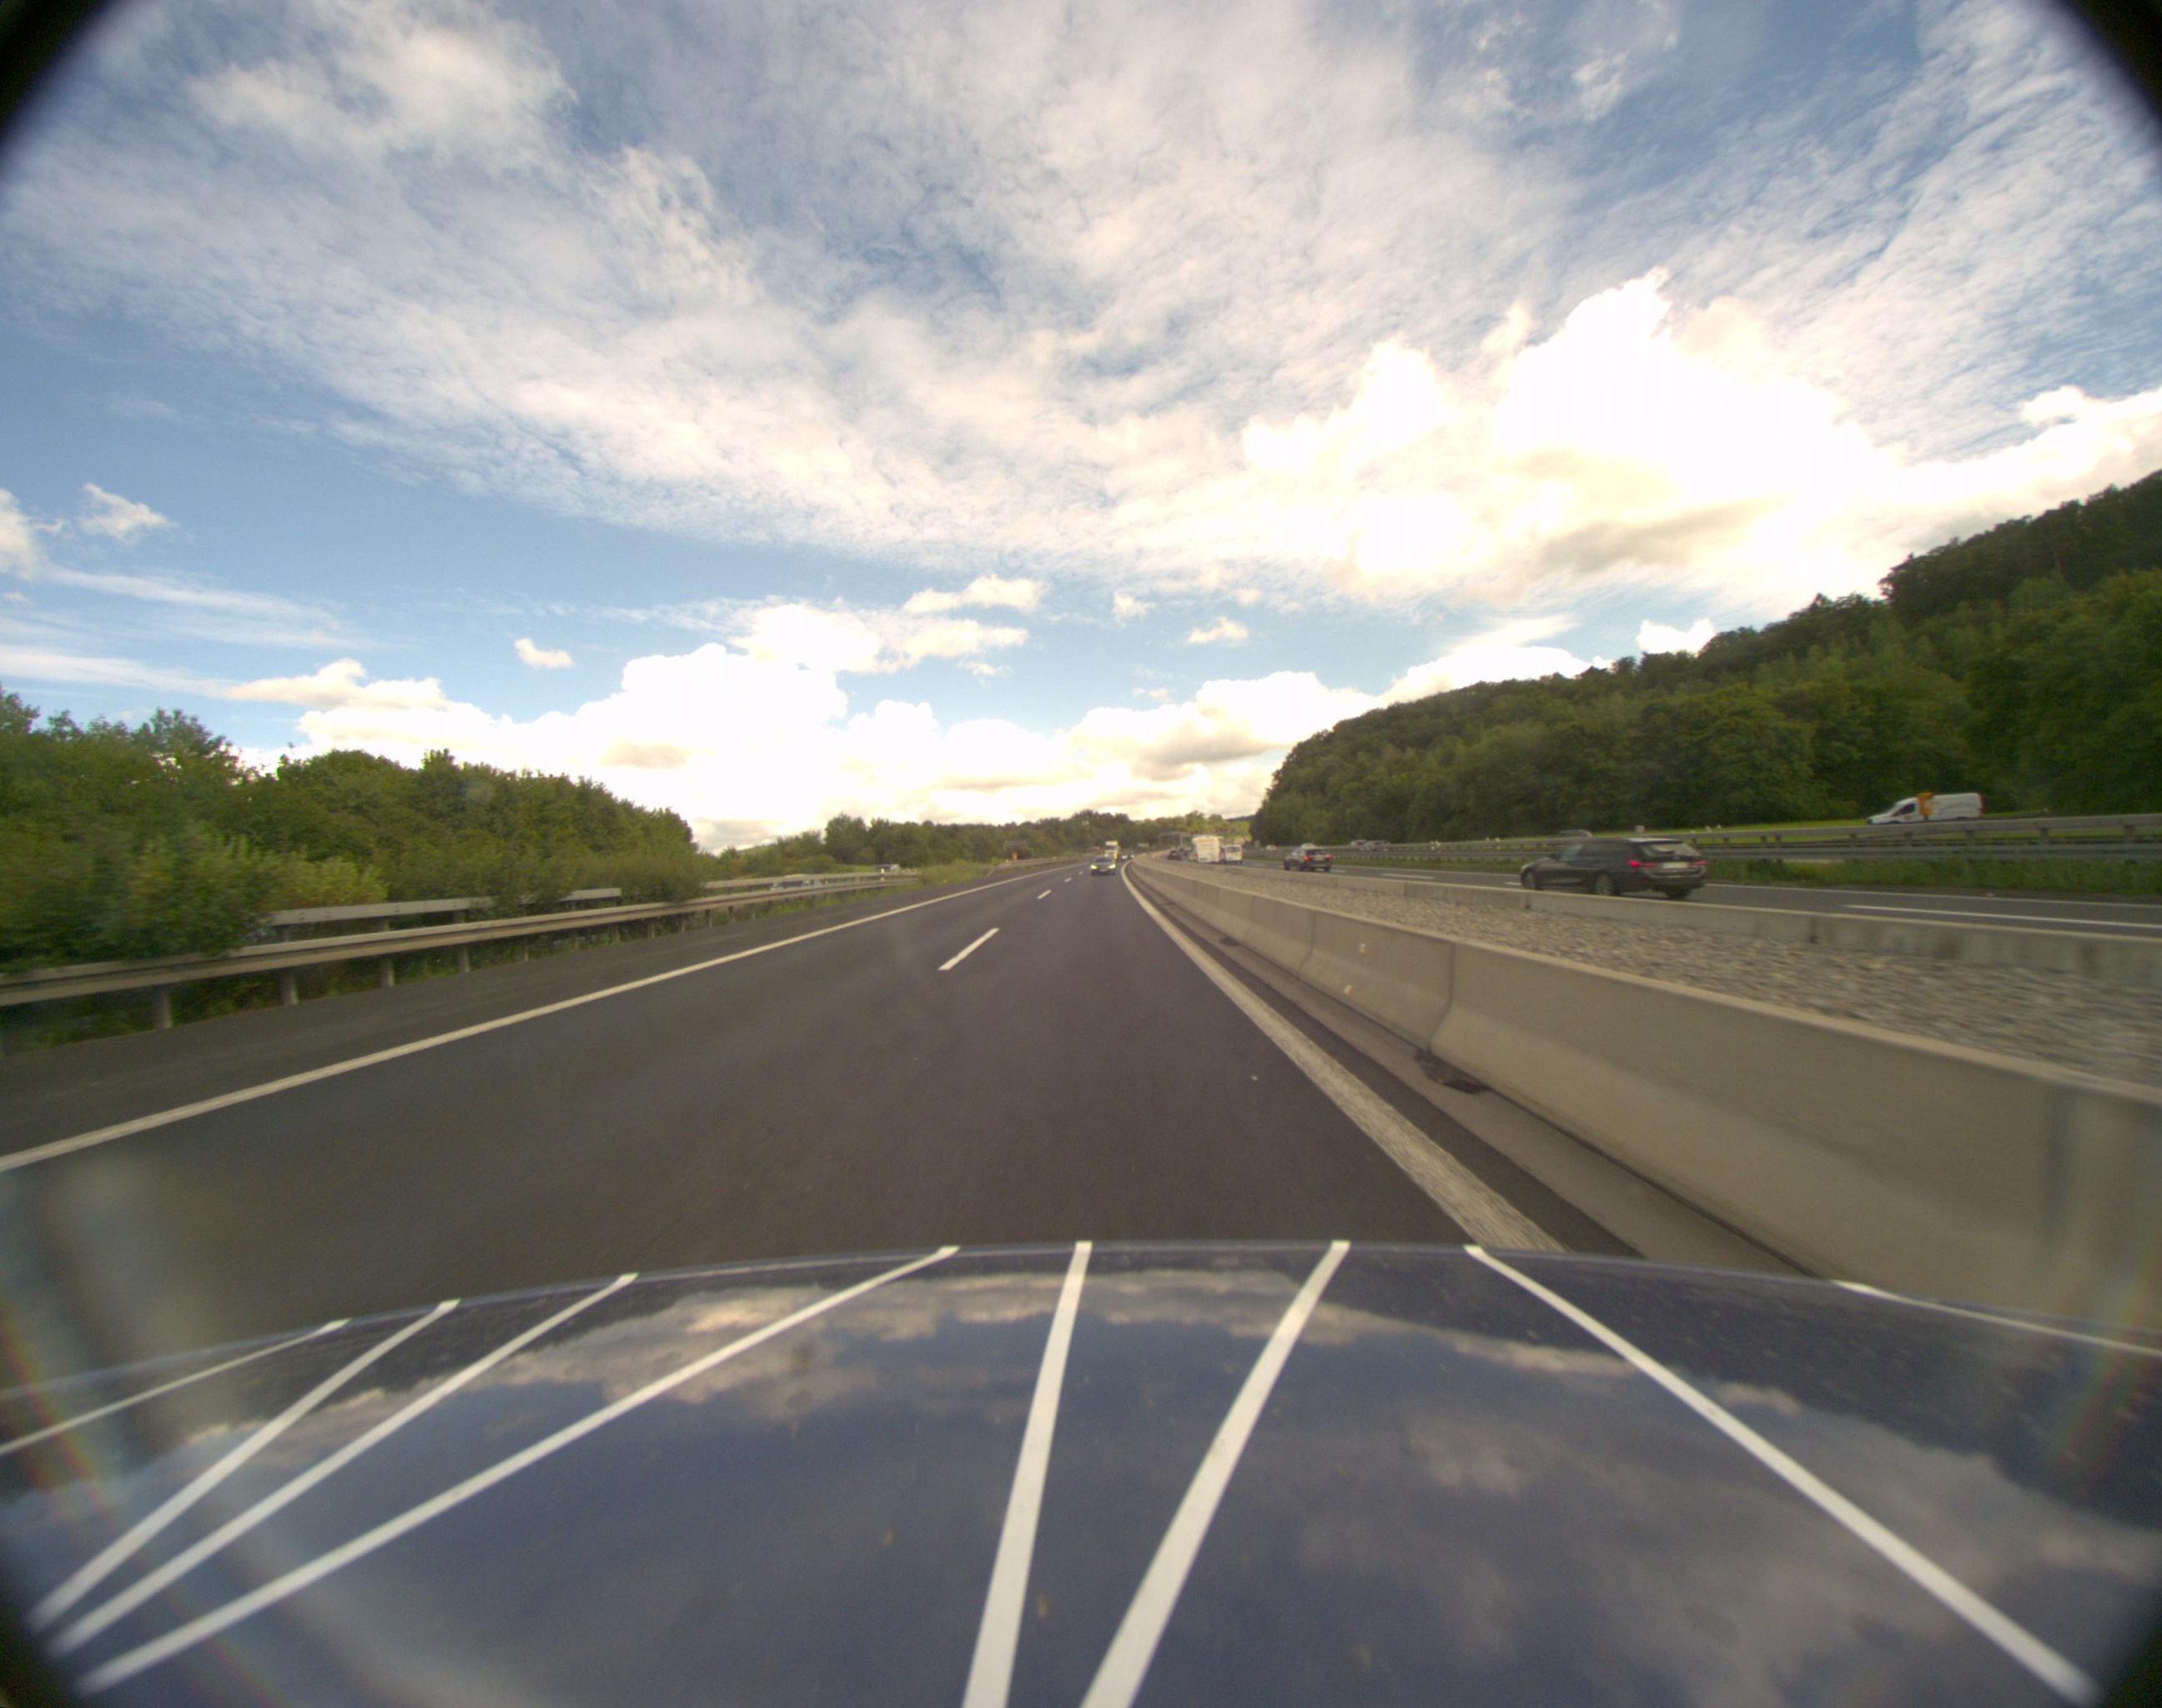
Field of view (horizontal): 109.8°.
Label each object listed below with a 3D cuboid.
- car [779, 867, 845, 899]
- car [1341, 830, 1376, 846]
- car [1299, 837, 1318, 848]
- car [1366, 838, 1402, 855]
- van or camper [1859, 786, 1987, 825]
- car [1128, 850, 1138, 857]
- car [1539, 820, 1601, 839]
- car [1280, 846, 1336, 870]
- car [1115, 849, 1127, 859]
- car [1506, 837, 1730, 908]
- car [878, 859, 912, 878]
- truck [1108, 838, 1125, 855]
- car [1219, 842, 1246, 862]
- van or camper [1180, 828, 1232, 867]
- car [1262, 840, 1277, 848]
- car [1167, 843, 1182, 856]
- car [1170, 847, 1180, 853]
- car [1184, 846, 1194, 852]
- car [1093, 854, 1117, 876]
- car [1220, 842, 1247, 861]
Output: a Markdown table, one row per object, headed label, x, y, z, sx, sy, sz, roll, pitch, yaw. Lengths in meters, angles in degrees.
| label | x | y | z | sx | sy | sz | roll | pitch | yaw |
| --- | --- | --- | --- | --- | --- | --- | --- | --- | --- |
| car | -14.994 | 1.572 | 42.604 | 1.788 | 1.510 | 4.676 | -3 | 1 | 2 |
| car | 34.902 | -1.994 | 95.859 | 2.400 | 1.761 | 5.243 | -3 | 0 | 0 |
| car | 37.019 | -1.783 | 123.589 | 1.939 | 1.662 | 5.226 | -3 | 0 | 6 |
| car | 26.230 | -0.640 | 65.911 | 1.642 | 1.312 | 3.757 | -3 | 0 | 1 |
| van or camper | 60.084 | -3.417 | 54.410 | 5.719 | 2.236 | 2.109 | -3 | 1 | 26 |
| car | 11.296 | -0.181 | 165.797 | 1.998 | 1.464 | 4.001 | -3 | 1 | 5 |
| car | 44.074 | -2.152 | 68.564 | 1.734 | 1.442 | 4.294 | -3 | 0 | -32 |
| car | 14.086 | 0.218 | 47.420 | 1.888 | 1.413 | 5.236 | -1 | 0 | 0 |
| car | 7.029 | -0.015 | 133.531 | 1.998 | 1.464 | 4.001 | -3 | 0 | 5 |
| car | 12.724 | 0.380 | 18.508 | 1.789 | 1.409 | 4.995 | -3 | 0 | -1 |
| car | -17.222 | 1.330 | 70.565 | 1.788 | 1.562 | 4.345 | -3 | 1 | 4 |
| truck | 8.058 | -1.771 | 173.106 | 2.795 | 3.563 | 11.460 | -2 | 2 | 7 |
| car | 15.633 | -0.202 | 78.450 | 1.918 | 1.895 | 5.287 | -2 | 0 | 3 |
| van or camper | 10.555 | -0.547 | 65.120 | 3.343 | 2.899 | 7.466 | -3 | 0 | 2 |
| car | 38.380 | -1.994 | 154.791 | 1.787 | 1.423 | 4.624 | -3 | 0 | 1 |
| car | 14.282 | -0.709 | 116.690 | 1.998 | 1.909 | 5.150 | -3 | 0 | 4 |
| car | 23.428 | -1.073 | 189.976 | 2.050 | 1.329 | 5.609 | -2 | 0 | 4 |
| car | 25.263 | -1.088 | 178.075 | 1.872 | 1.329 | 4.230 | -2 | 0 | 4 |
| car | 1.899 | 0.810 | 58.794 | 1.662 | 1.464 | 4.000 | -3 | 1 | 3 |
| car | 15.616 | -0.256 | 77.946 | 1.998 | 1.804 | 4.241 | -3 | 0 | 3 |
